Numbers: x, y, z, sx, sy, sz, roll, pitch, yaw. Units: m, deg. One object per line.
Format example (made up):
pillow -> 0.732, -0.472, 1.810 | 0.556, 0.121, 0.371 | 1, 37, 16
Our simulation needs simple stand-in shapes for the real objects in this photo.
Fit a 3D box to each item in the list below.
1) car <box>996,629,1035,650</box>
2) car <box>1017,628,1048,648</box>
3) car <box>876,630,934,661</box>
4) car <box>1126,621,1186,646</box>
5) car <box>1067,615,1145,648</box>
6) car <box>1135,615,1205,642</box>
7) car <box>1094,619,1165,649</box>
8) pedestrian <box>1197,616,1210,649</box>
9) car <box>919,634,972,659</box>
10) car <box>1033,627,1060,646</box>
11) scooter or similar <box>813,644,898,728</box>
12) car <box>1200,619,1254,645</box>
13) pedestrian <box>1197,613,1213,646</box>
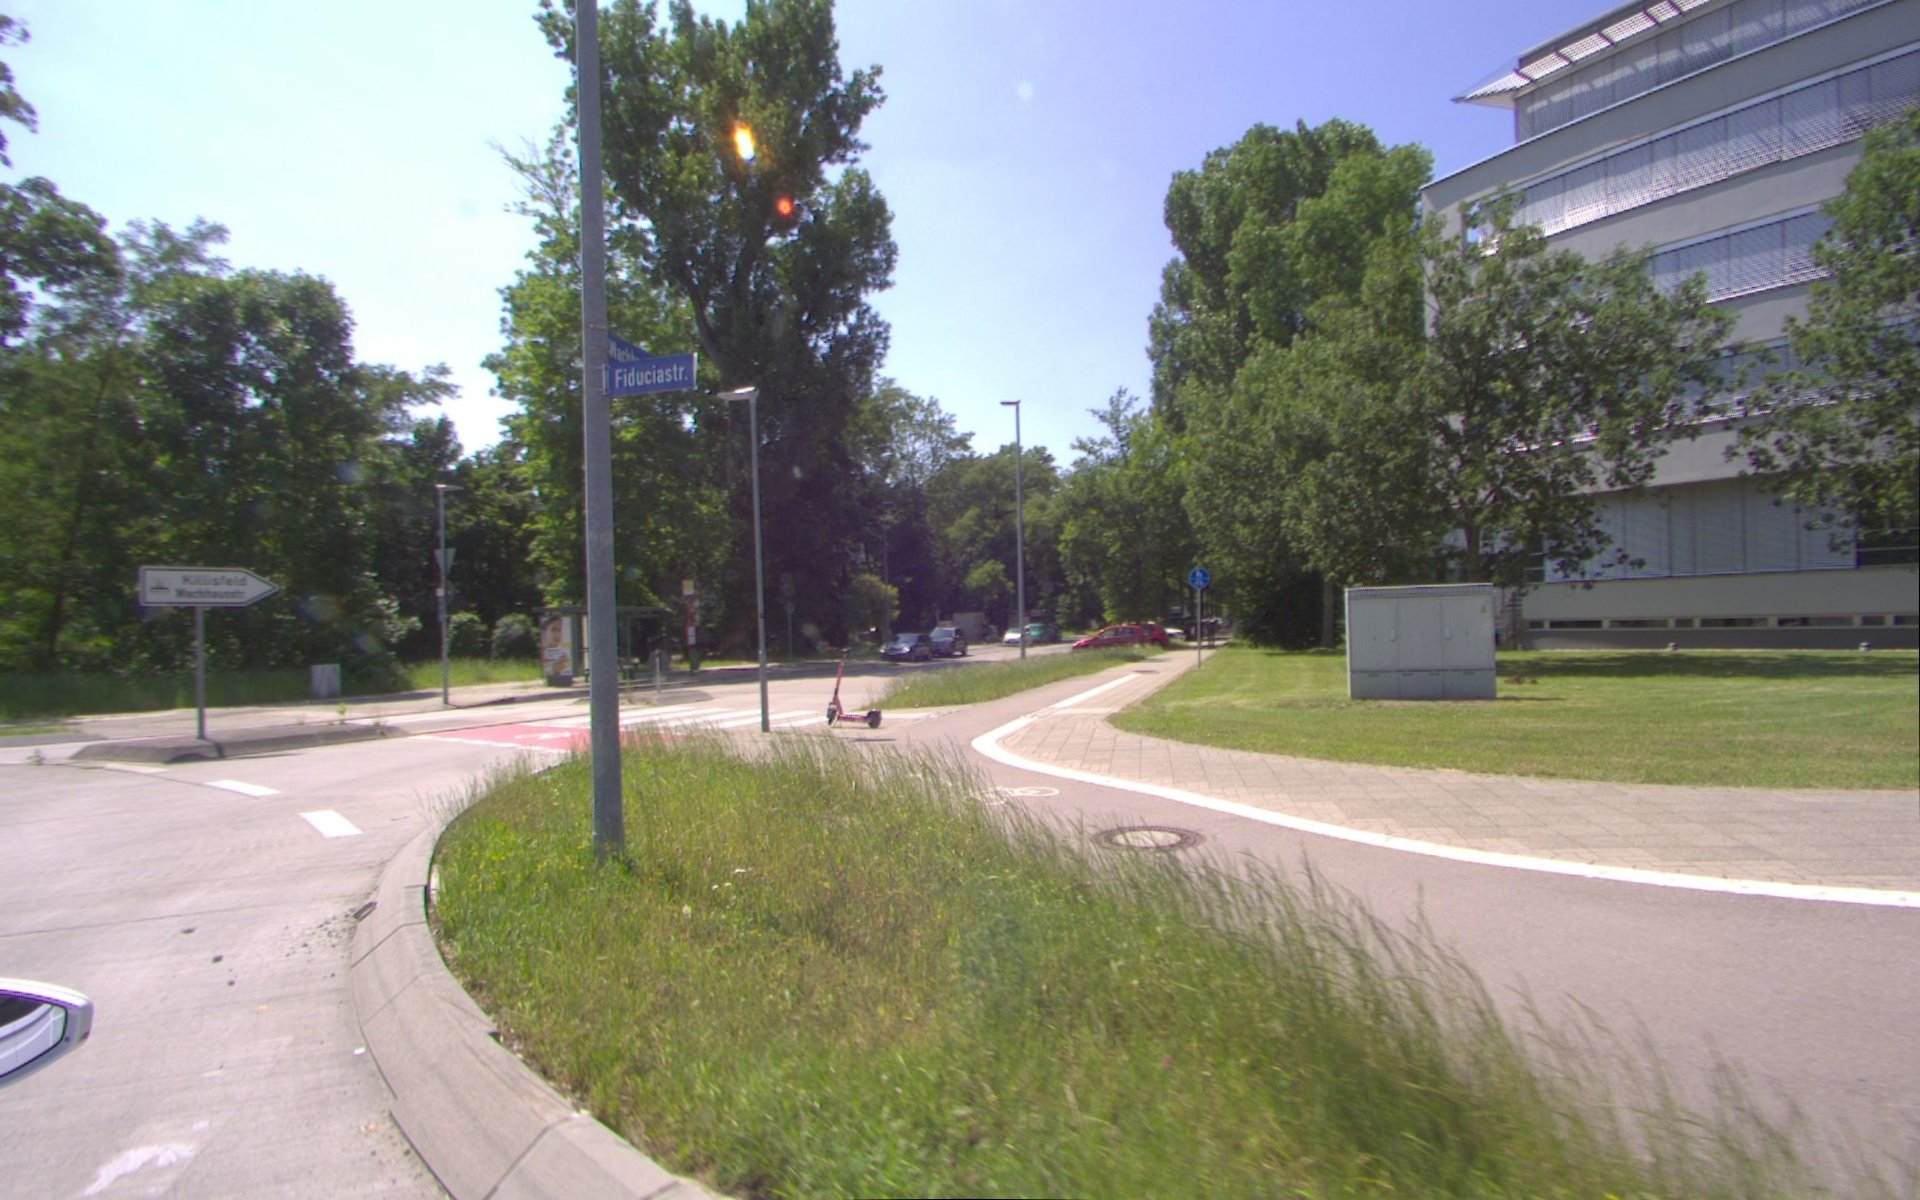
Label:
car -> 4.224, 3.005, 75.522 | 1.965, 1.488, 3.994 | -2, -2, 19
car -> 5.795, 3.008, 79.617 | 1.705, 1.563, 3.442 | -2, -2, 16
car -> -2.773, 2.305, 51.468 | 1.672, 1.505, 3.996 | 1, -2, 17
car -> 12.365, 2.114, 63.000 | 3.617, 1.502, 1.868 | -2, -2, 13
car -> 7.216, 1.559, 49.245 | 3.617, 1.502, 1.868 | -2, -2, 13
car -> 16.714, 2.275, 79.634 | 5.220, 2.010, 1.758 | -2, -2, 17
car -> 9.142, 1.829, 53.847 | 3.617, 1.502, 1.868 | -2, -2, 13
pedestrian -> 12.117, 1.604, 49.830 | 0.478, 1.637, 0.587 | -2, -2, 22
car -> -0.785, 2.656, 57.371 | 1.964, 1.326, 3.996 | -2, -2, 16
car -> 7.386, 3.083, 85.349 | 1.704, 1.513, 3.442 | -2, -1, 14
scooter or similar -> -1.606, 1.294, 15.241 | 1.383, 1.217, 0.444 | -3, -2, 40
car -> 22.691, 2.734, 85.123 | 1.980, 2.039, 3.965 | 0, -3, -42
pedestrian -> 12.347, 1.472, 50.418 | 0.634, 1.628, 0.570 | -2, -2, 26
